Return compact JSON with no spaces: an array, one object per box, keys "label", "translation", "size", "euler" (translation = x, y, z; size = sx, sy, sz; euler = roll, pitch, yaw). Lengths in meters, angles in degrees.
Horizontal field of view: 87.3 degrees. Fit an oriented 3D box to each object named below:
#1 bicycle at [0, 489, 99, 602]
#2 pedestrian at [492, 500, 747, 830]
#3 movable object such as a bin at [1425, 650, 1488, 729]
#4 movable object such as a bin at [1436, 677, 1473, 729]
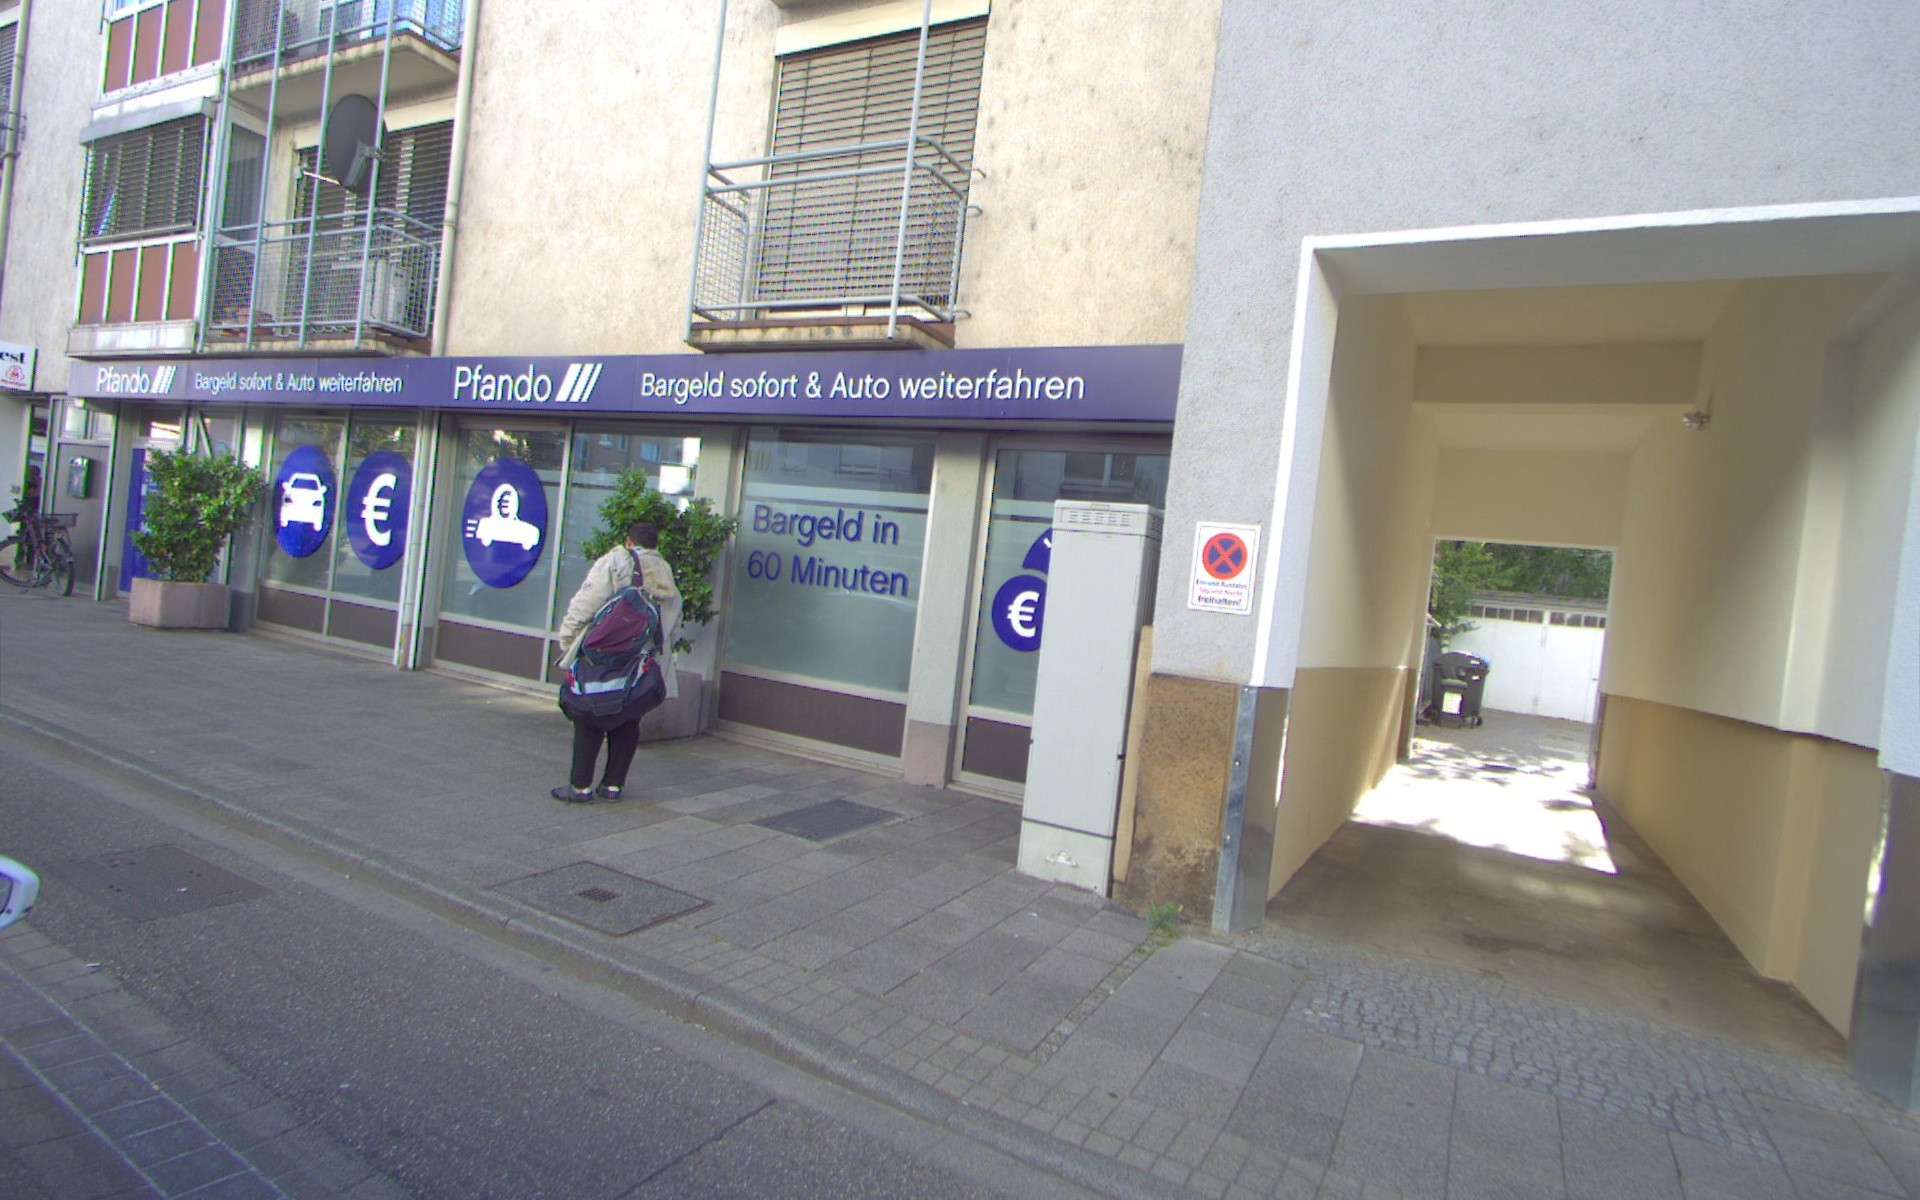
[{"label":"bicycle","translation":[-11.845,-0.724,12.875],"size":[1.879,1.280,0.640],"euler":[7,1,32]},{"label":"pedestrian","translation":[-1.868,0.321,5.574],"size":[0.853,1.593,0.874],"euler":[8,3,29]},{"label":"movable object such as a bin","translation":[10.110,1.794,20.454],"size":[0.945,1.426,1.598],"euler":[7,1,29]},{"label":"movable object such as a bin","translation":[9.558,1.987,19.451],"size":[0.518,0.922,0.580],"euler":[7,1,29]}]
